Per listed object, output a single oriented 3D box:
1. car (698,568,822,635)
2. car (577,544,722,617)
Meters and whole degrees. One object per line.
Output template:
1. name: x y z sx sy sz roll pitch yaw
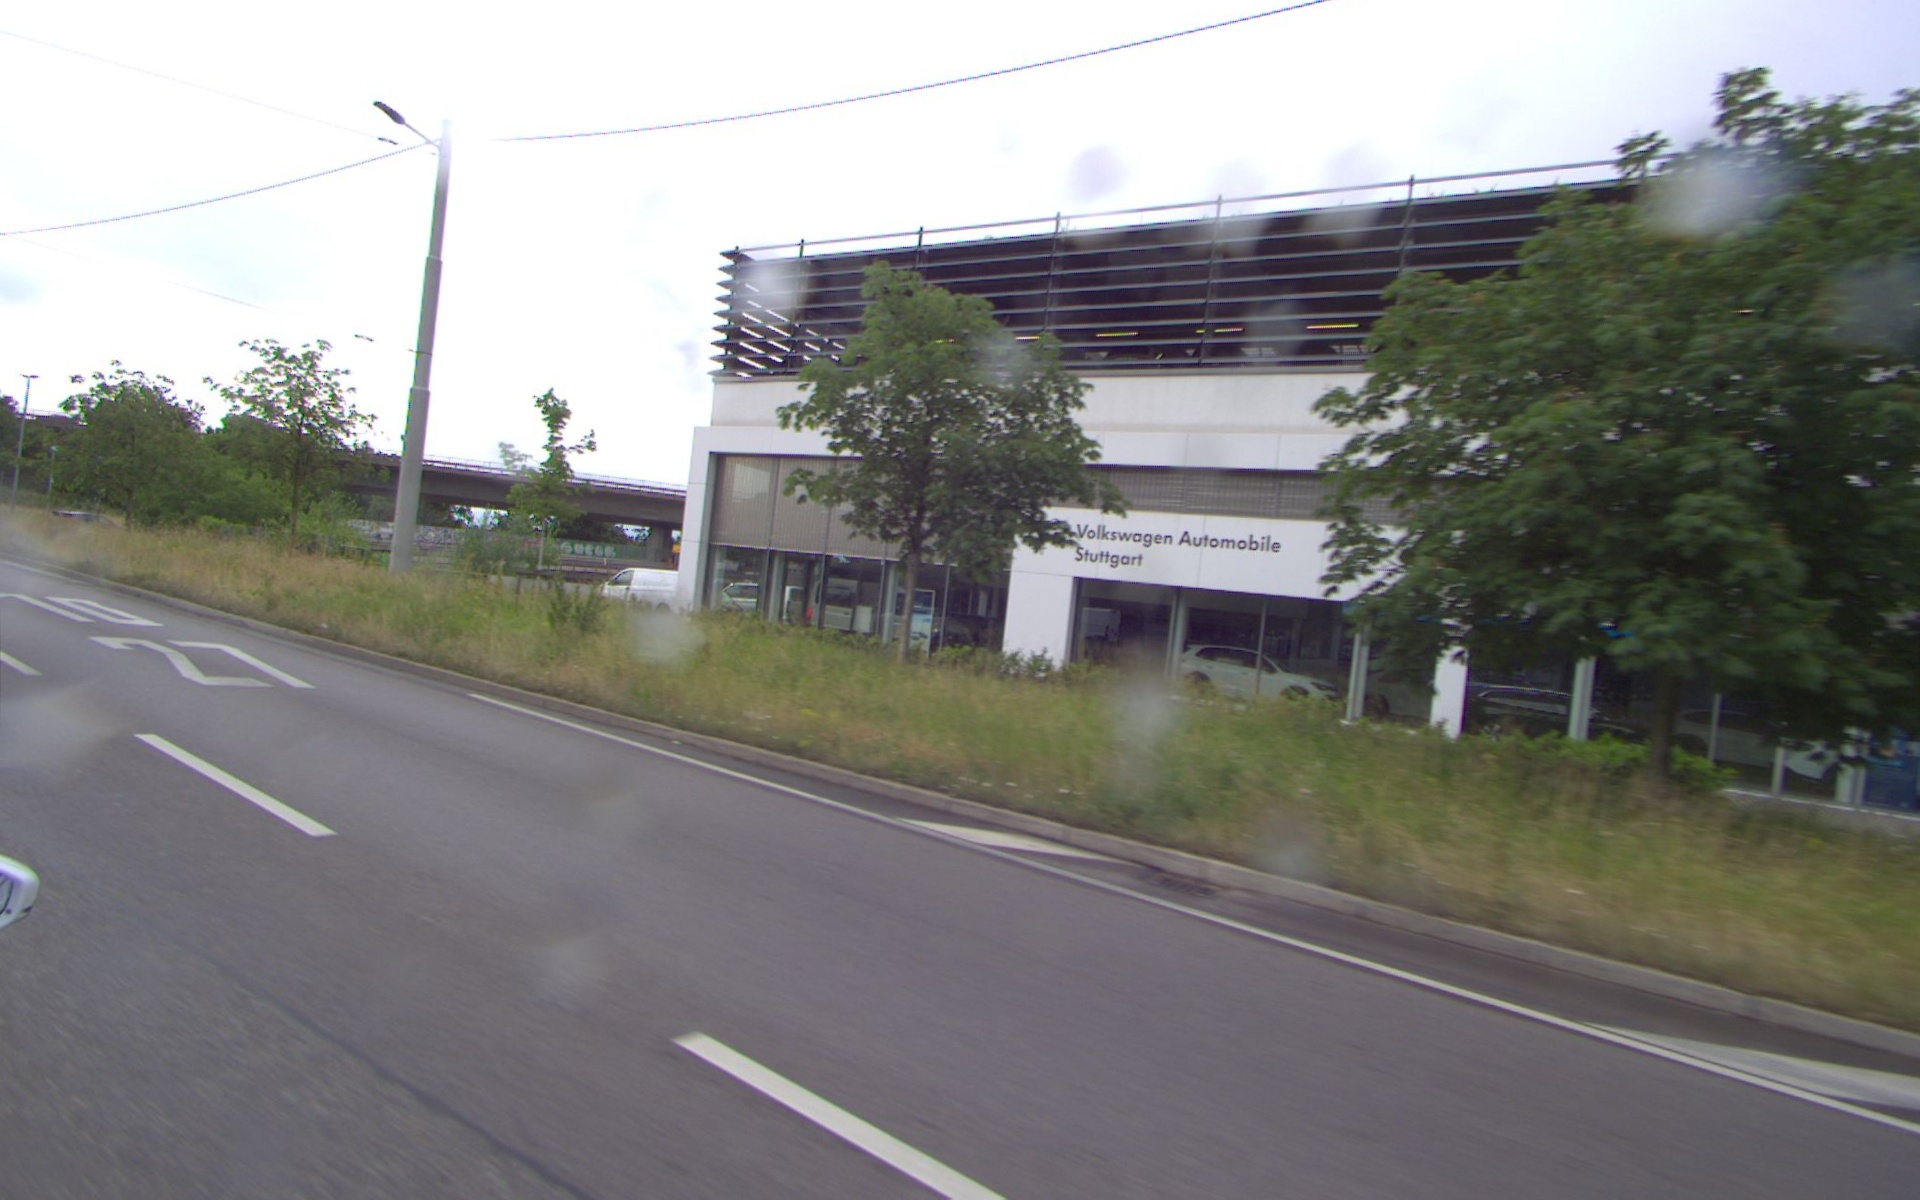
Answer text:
1. car: -8.292 0.054 41.637 4.624 2.073 1.952 7 -2 28
2. car: -11.628 -0.739 37.574 5.002 2.038 2.048 7 -1 28
